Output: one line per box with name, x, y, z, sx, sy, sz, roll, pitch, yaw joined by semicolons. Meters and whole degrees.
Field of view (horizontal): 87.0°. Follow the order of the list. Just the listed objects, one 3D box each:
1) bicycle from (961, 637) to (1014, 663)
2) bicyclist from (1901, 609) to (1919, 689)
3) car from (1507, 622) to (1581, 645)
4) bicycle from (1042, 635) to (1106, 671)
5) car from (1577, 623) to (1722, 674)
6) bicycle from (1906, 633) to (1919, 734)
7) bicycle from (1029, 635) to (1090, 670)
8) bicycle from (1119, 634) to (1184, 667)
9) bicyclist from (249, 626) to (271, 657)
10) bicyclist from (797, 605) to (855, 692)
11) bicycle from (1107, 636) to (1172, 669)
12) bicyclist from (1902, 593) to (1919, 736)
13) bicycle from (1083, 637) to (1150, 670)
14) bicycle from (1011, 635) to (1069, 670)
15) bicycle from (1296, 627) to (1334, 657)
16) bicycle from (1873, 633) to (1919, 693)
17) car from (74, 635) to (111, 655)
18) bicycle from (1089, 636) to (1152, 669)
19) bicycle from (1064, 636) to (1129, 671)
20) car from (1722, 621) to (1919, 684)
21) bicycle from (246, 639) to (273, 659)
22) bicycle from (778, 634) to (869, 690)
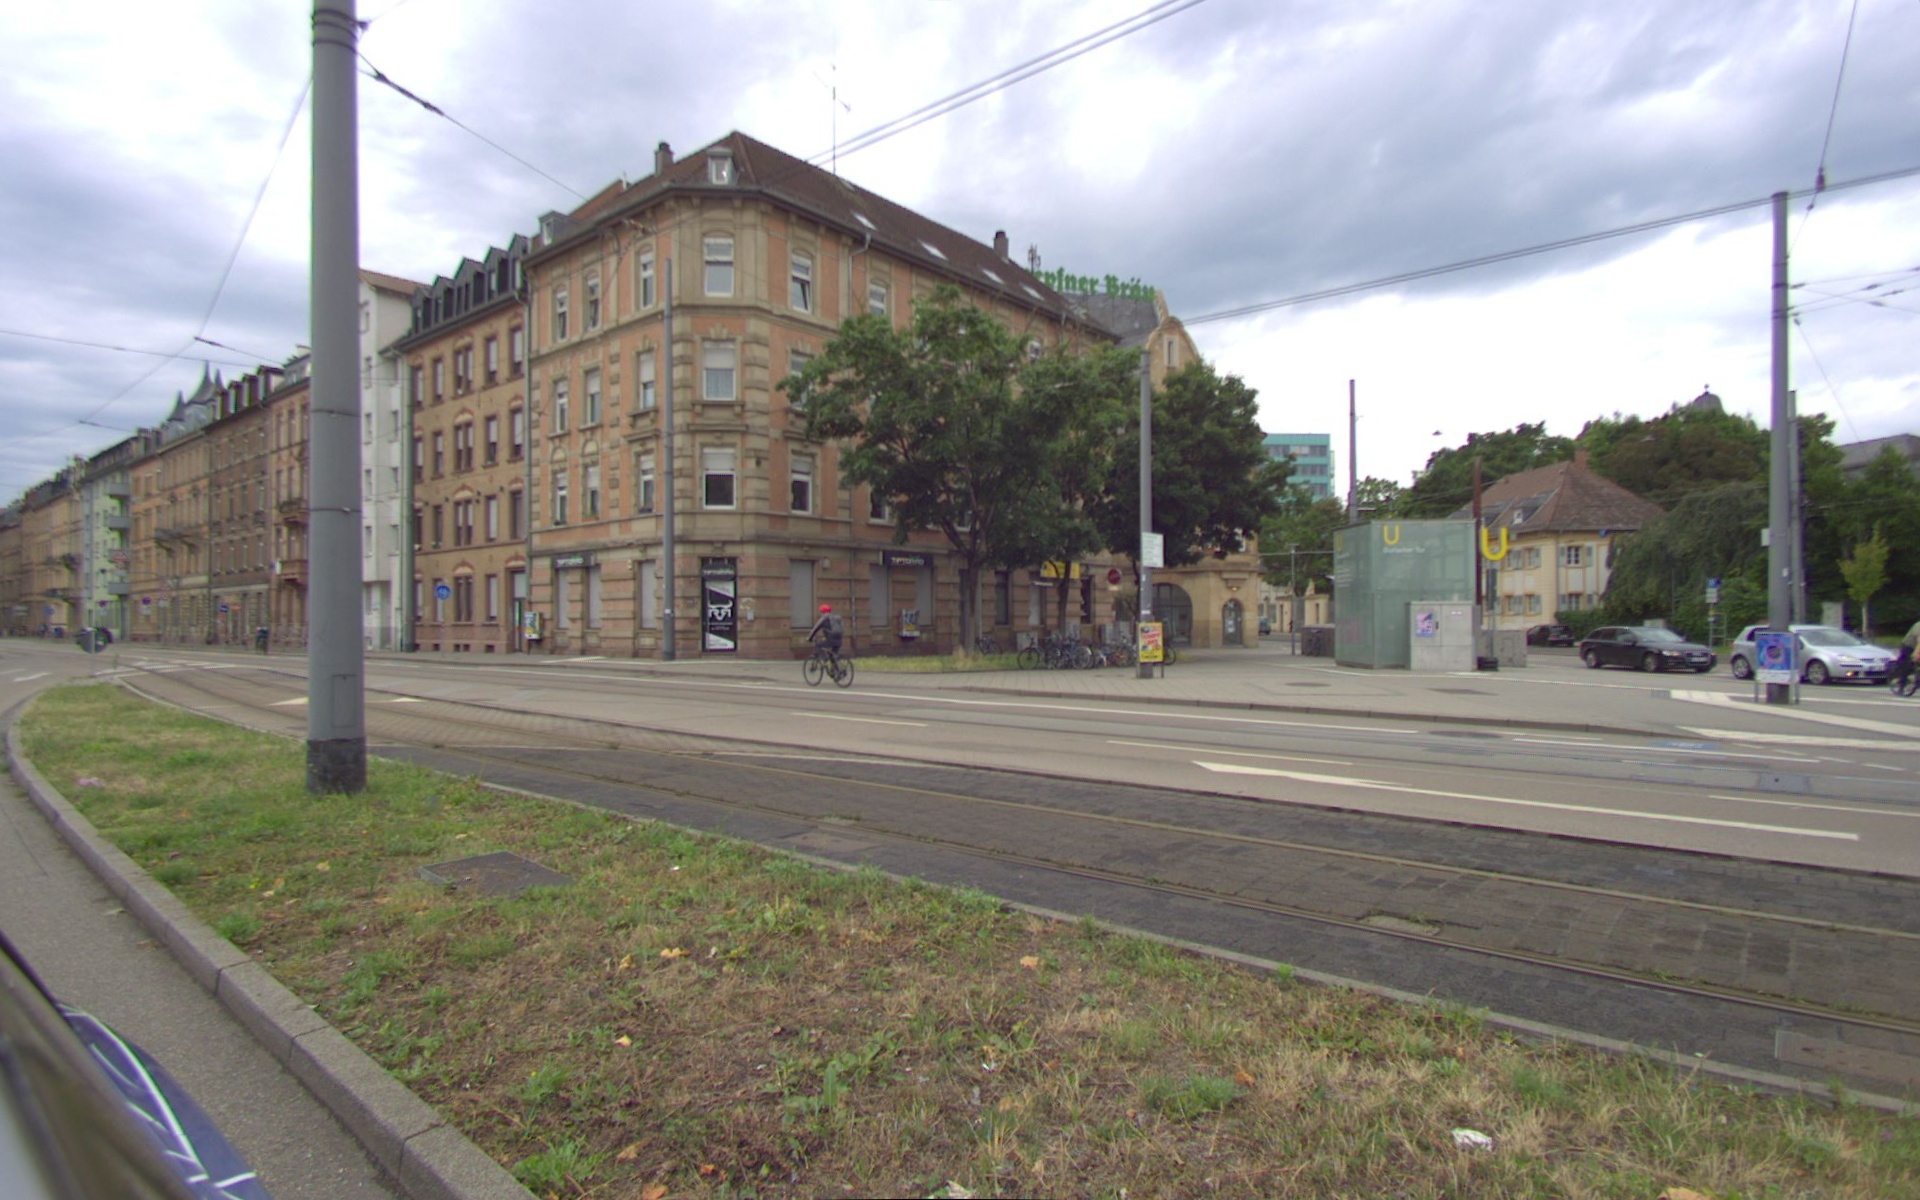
bicycle;1.021;1.871;37.900;1.987;0.921;0.654;-4;-4;38
bicyclist;20.044;0.998;20.625;0.843;1.635;0.917;0;-2;1
car;35.706;2.021;61.994;1.904;1.298;4.006;0;-1;-7
bicycle;3.400;1.582;30.422;0.472;1.014;2.224;0;-1;-39
car;21.870;1.501;32.323;1.673;1.460;4.144;-1;-1;-1
bicycle;12.751;1.049;13.001;0.816;1.252;1.971;-3;-4;43
bicycle;2.947;1.542;30.096;0.513;0.994;2.041;0;-1;-39
bicycle;6.444;1.697;34.197;0.678;1.047;2.224;0;-1;-39
bicyclist;-34.902;2.056;50.432;0.941;1.506;0.655;-2;-1;37
bicyclist;-3.048;1.092;22.953;1.048;1.906;0.820;-2;-3;42
bicycle;5.843;1.700;33.072;0.576;0.994;2.224;0;-1;-39
bicyclist;12.789;0.812;13.070;0.816;1.812;1.015;-4;-3;43
bicycle;4.885;1.664;31.751;0.601;0.994;2.224;0;-1;-39
bicycle;2.332;1.526;29.669;0.492;0.994;1.872;0;-2;-41
bicycle;14.019;1.645;40.038;0.730;1.123;2.361;-1;-1;3
bicycle;20.040;1.296;20.623;0.845;1.217;2.197;0;-1;1
car;-68.748;3.573;80.215;3.828;1.491;1.828;-2;-2;43
bicycle;5.119;1.662;32.409;0.492;0.994;2.224;0;-1;-39
bicycle;4.117;1.614;30.754;0.492;0.994;2.224;0;-1;-39
car;21.980;1.294;26.044;1.739;1.465;4.156;-1;-1;4
bicycle;-34.881;2.433;50.405;1.716;0.922;0.600;-1;-1;37
bicycle;-3.117;1.381;23.001;2.233;1.217;0.815;-2;-3;42
